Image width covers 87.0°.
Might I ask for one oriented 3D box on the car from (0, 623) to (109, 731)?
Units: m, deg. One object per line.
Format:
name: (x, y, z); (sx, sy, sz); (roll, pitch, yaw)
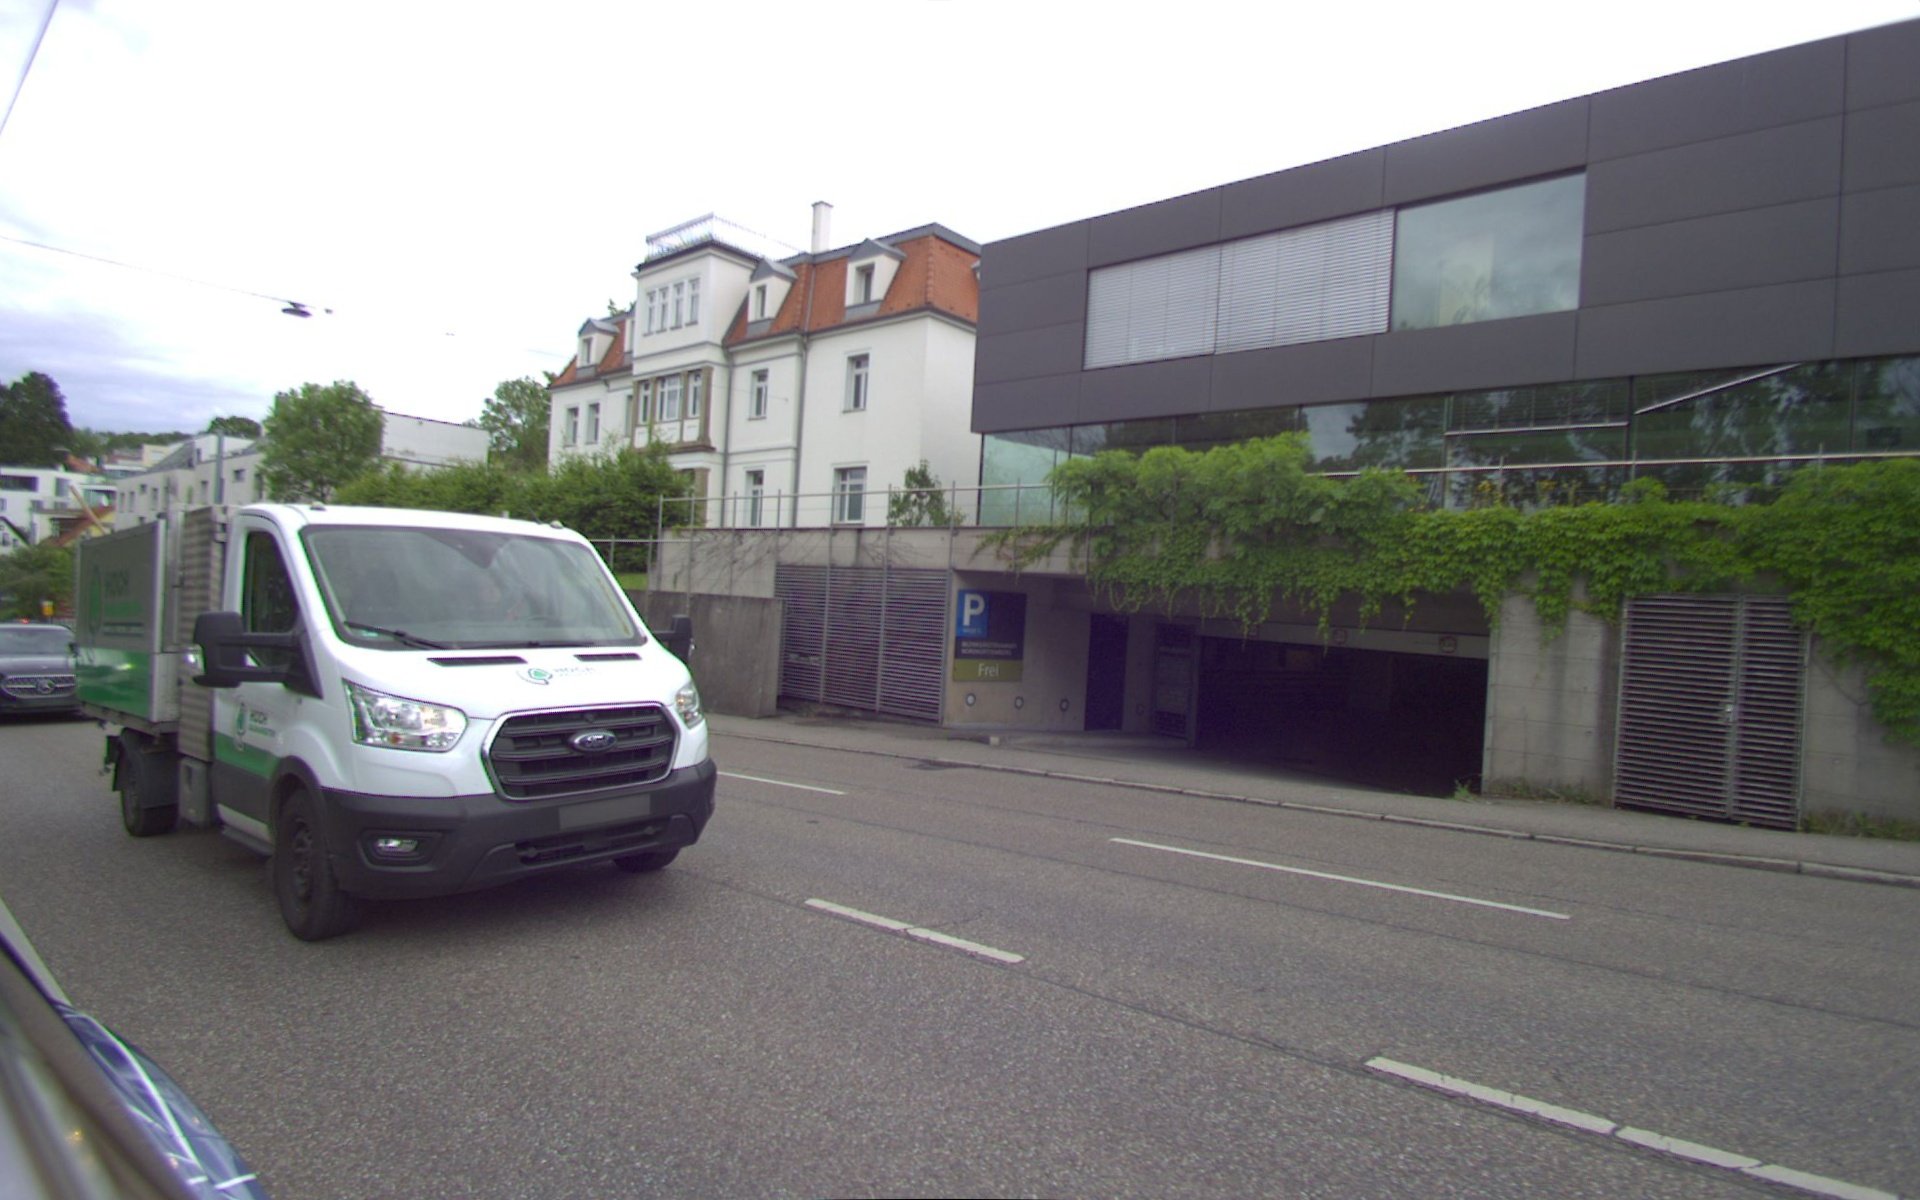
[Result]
car: (-15.094, 1.134, 16.001); (4.333, 1.542, 1.854); (-1, -2, 41)

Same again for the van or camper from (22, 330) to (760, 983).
van or camper: (-4.227, 0.269, 6.934); (5.957, 2.682, 2.321); (-1, -1, 38)
